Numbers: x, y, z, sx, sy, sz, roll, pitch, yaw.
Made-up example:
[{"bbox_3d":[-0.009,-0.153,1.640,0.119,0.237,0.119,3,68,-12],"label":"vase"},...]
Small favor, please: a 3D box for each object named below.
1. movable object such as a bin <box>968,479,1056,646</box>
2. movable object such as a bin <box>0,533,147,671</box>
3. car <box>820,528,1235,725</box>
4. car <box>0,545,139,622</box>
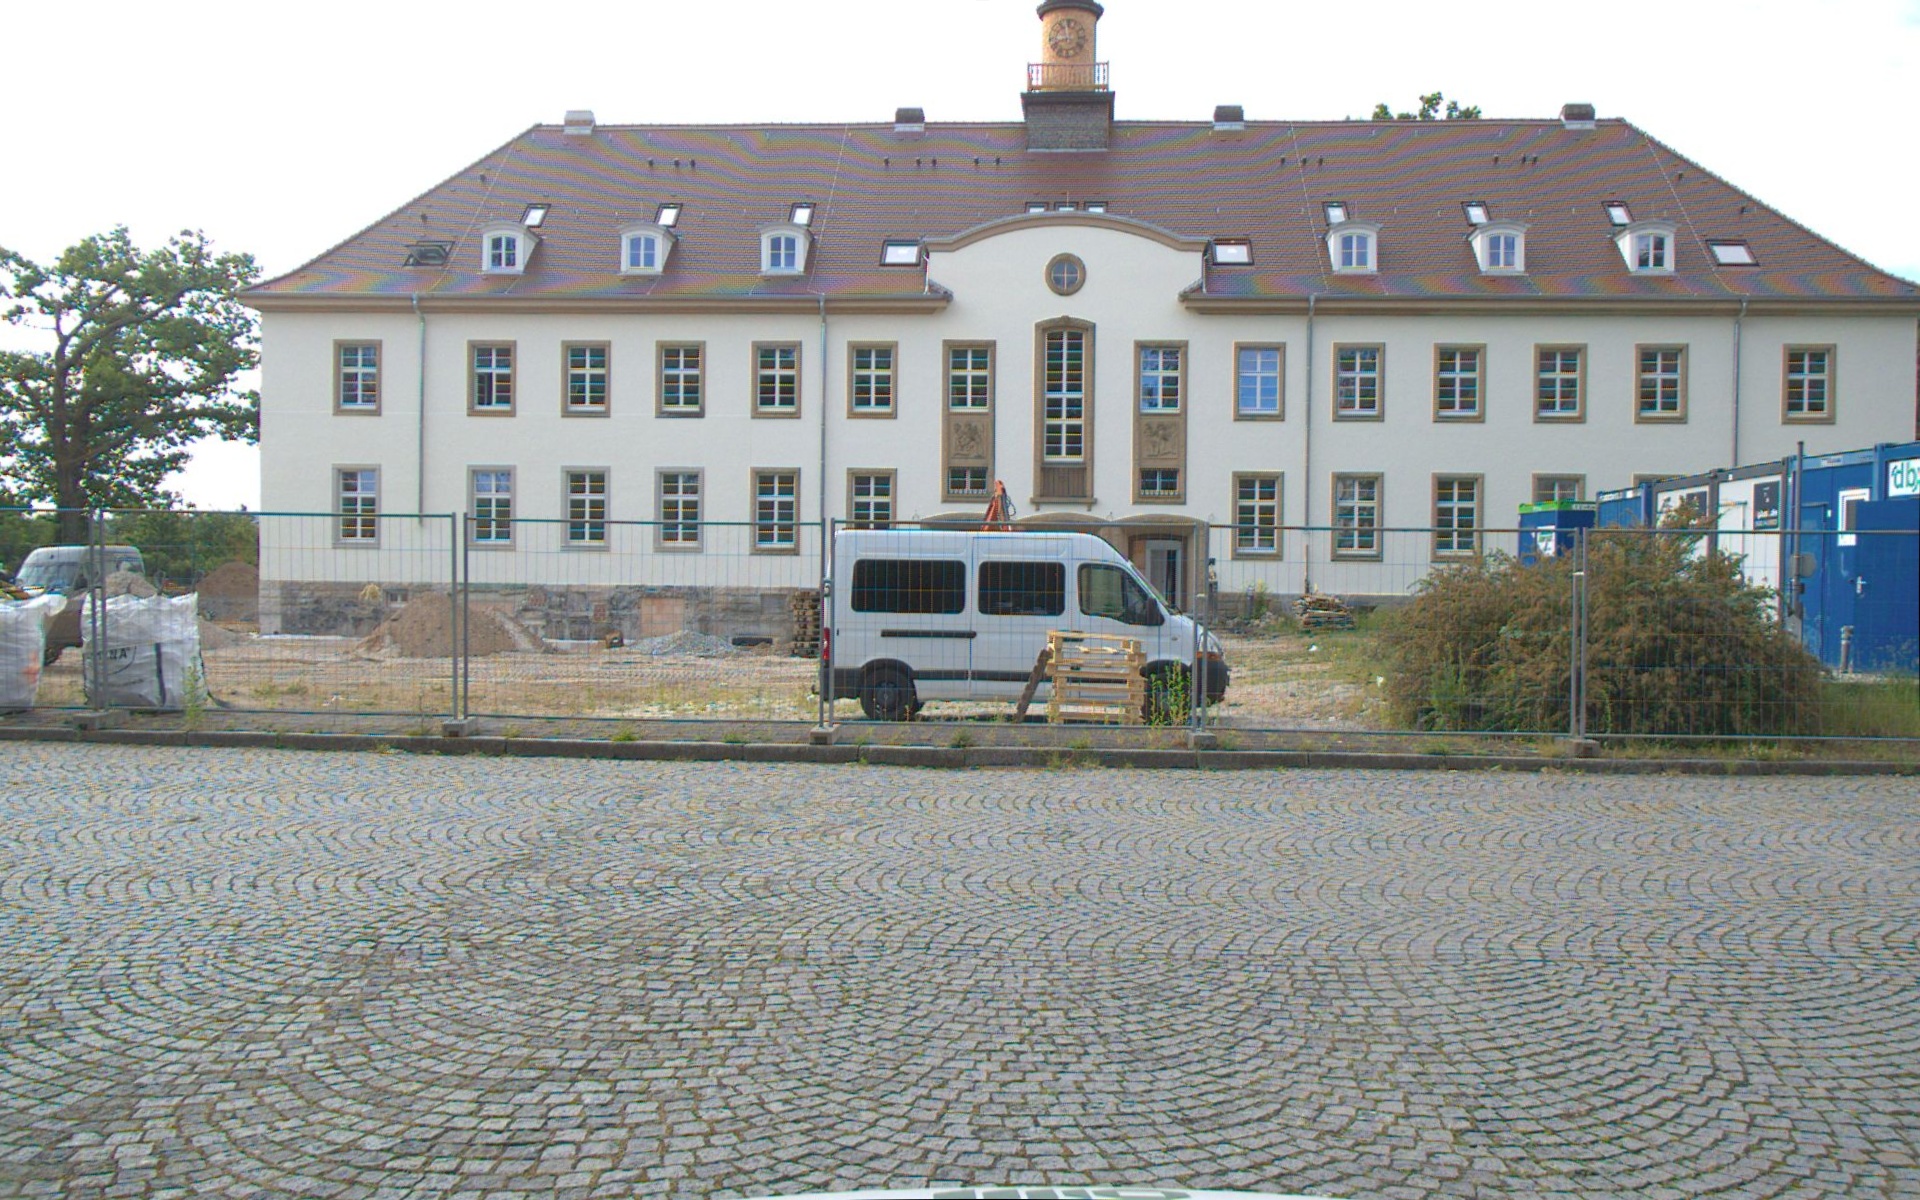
[{"bbox_3d":[1.219,-0.891,41.027,1.953,3.837,5.317,1,0,0],"label":"movable object such as a bin"},{"bbox_3d":[-19.090,0.012,32.495,5.218,2.601,2.001,0,0,2],"label":"movable object such as a bin"},{"bbox_3d":[0.902,0.314,21.563,5.151,2.385,1.911,1,0,5],"label":"car"},{"bbox_3d":[-26.830,-0.493,49.723,2.026,2.188,4.896,0,0,-3],"label":"car"}]
